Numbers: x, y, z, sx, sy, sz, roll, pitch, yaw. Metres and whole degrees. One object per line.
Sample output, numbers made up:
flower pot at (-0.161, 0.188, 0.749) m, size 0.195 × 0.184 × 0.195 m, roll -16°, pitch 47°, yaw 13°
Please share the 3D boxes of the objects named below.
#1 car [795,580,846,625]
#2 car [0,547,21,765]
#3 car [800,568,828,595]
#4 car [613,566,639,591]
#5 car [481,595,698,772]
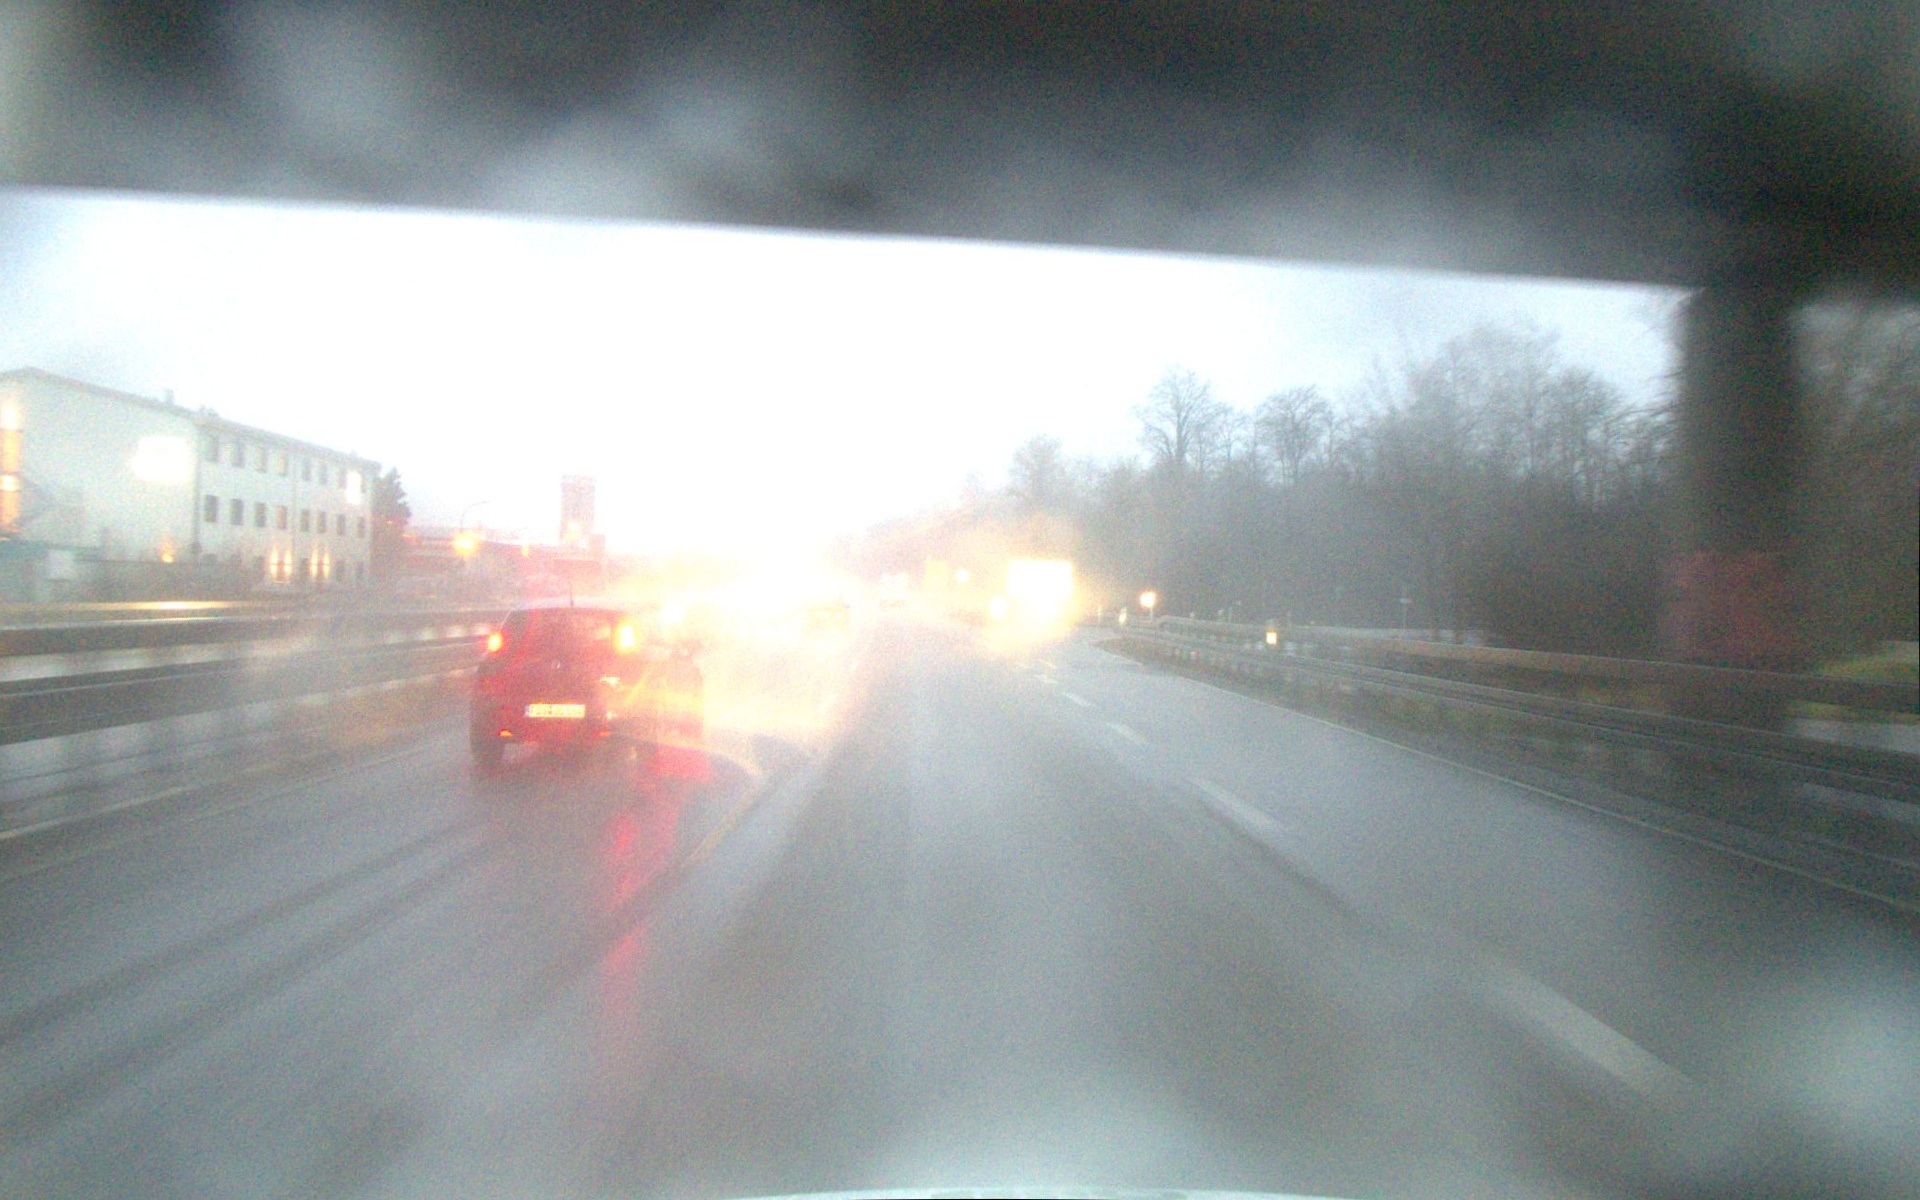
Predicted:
car at (-5.011, 0.055, 59.893) m, size 1.741 × 1.561 × 4.699 m, roll 0°, pitch 1°, yaw -4°
car at (-9.259, 0.470, 11.976) m, size 1.953 × 1.905 × 5.269 m, roll 3°, pitch 1°, yaw -2°
car at (-12.456, -1.602, 140.684) m, size 2.083 × 2.157 × 3.569 m, roll 3°, pitch 1°, yaw -8°
car at (-26.499, -1.735, 131.321) m, size 1.856 × 1.853 × 3.864 m, roll 3°, pitch 0°, yaw -10°
car at (-3.533, 0.735, 16.280) m, size 1.497 × 1.440 × 3.476 m, roll 3°, pitch 1°, yaw -4°
